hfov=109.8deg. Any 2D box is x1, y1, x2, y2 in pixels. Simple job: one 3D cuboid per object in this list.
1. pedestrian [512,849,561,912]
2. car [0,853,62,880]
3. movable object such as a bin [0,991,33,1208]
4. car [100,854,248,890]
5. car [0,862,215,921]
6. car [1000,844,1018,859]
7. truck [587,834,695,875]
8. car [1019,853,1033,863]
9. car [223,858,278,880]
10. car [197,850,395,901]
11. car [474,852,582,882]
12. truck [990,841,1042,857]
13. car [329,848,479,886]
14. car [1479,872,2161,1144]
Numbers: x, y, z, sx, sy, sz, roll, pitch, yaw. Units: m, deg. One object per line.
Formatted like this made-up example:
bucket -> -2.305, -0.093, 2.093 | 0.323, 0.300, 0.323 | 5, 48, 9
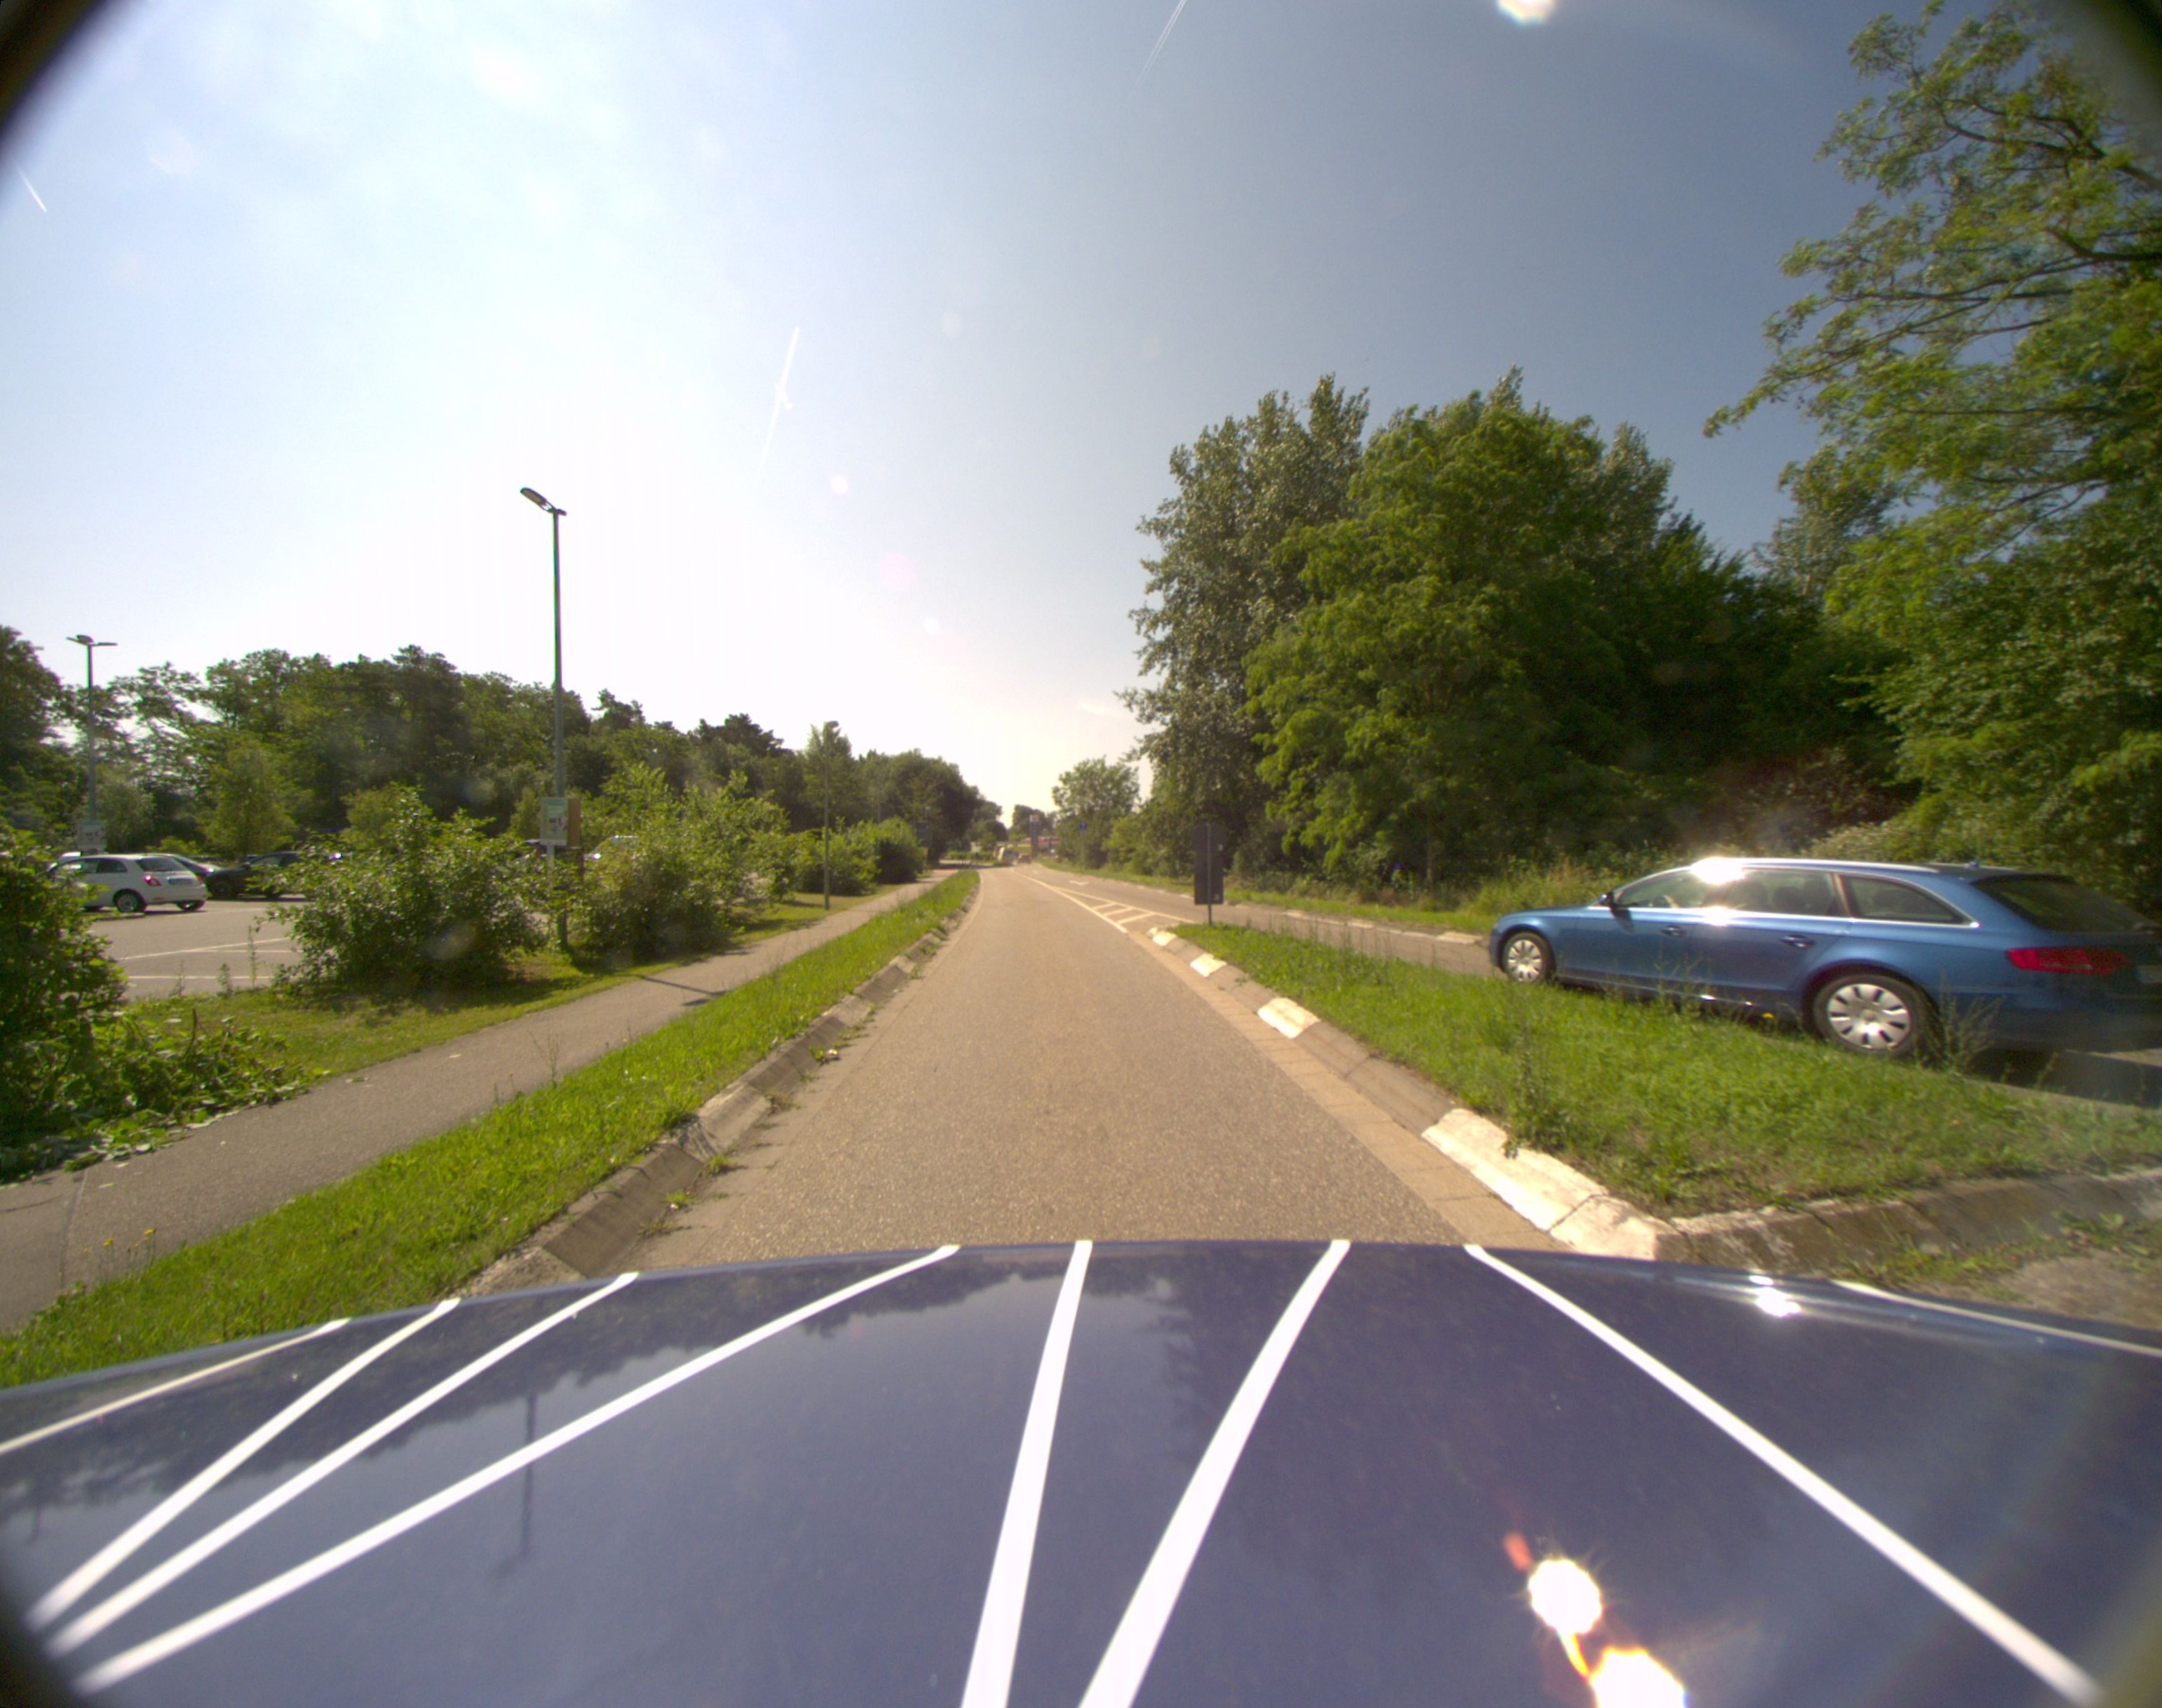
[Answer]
pedestrian -> -15.870, 0.751, 22.178 | 0.821, 1.787, 0.866 | 0, 1, -6
car -> -67.435, 0.760, 48.369 | 1.799, 1.587, 4.249 | 0, 0, -35
movable object such as a bin -> -6.342, 1.322, 3.571 | 0.869, 1.114, 1.457 | -1, 0, 21
car -> -42.494, 0.805, 35.761 | 4.006, 1.575, 1.966 | 0, 0, -29
car -> -25.601, 0.939, 19.767 | 3.999, 1.433, 1.650 | 0, 0, -5
car -> -12.203, -0.405, 128.096 | 1.919, 2.386, 4.902 | -1, 0, -18
truck -> -28.402, 0.045, 49.228 | 5.617, 2.590, 2.201 | 0, 1, -8
car -> -7.713, 0.524, 106.573 | 1.704, 1.381, 4.290 | 0, 0, -8
car -> -59.513, 1.060, 54.526 | 1.665, 1.477, 4.361 | 0, 0, -33
car -> -25.936, 0.685, 25.264 | 4.167, 1.565, 1.998 | -1, 0, -10
car -> -27.820, 0.638, 38.365 | 3.977, 1.444, 1.901 | 0, 0, -17
truck -> -13.331, -1.004, 155.107 | 10.341, 3.374, 3.881 | 0, 1, -10
car -> -26.341, 0.496, 29.709 | 4.002, 1.419, 1.747 | 0, 0, -14
car -> 5.897, 0.885, 6.471 | 1.840, 1.379, 4.417 | 0, 0, -18
